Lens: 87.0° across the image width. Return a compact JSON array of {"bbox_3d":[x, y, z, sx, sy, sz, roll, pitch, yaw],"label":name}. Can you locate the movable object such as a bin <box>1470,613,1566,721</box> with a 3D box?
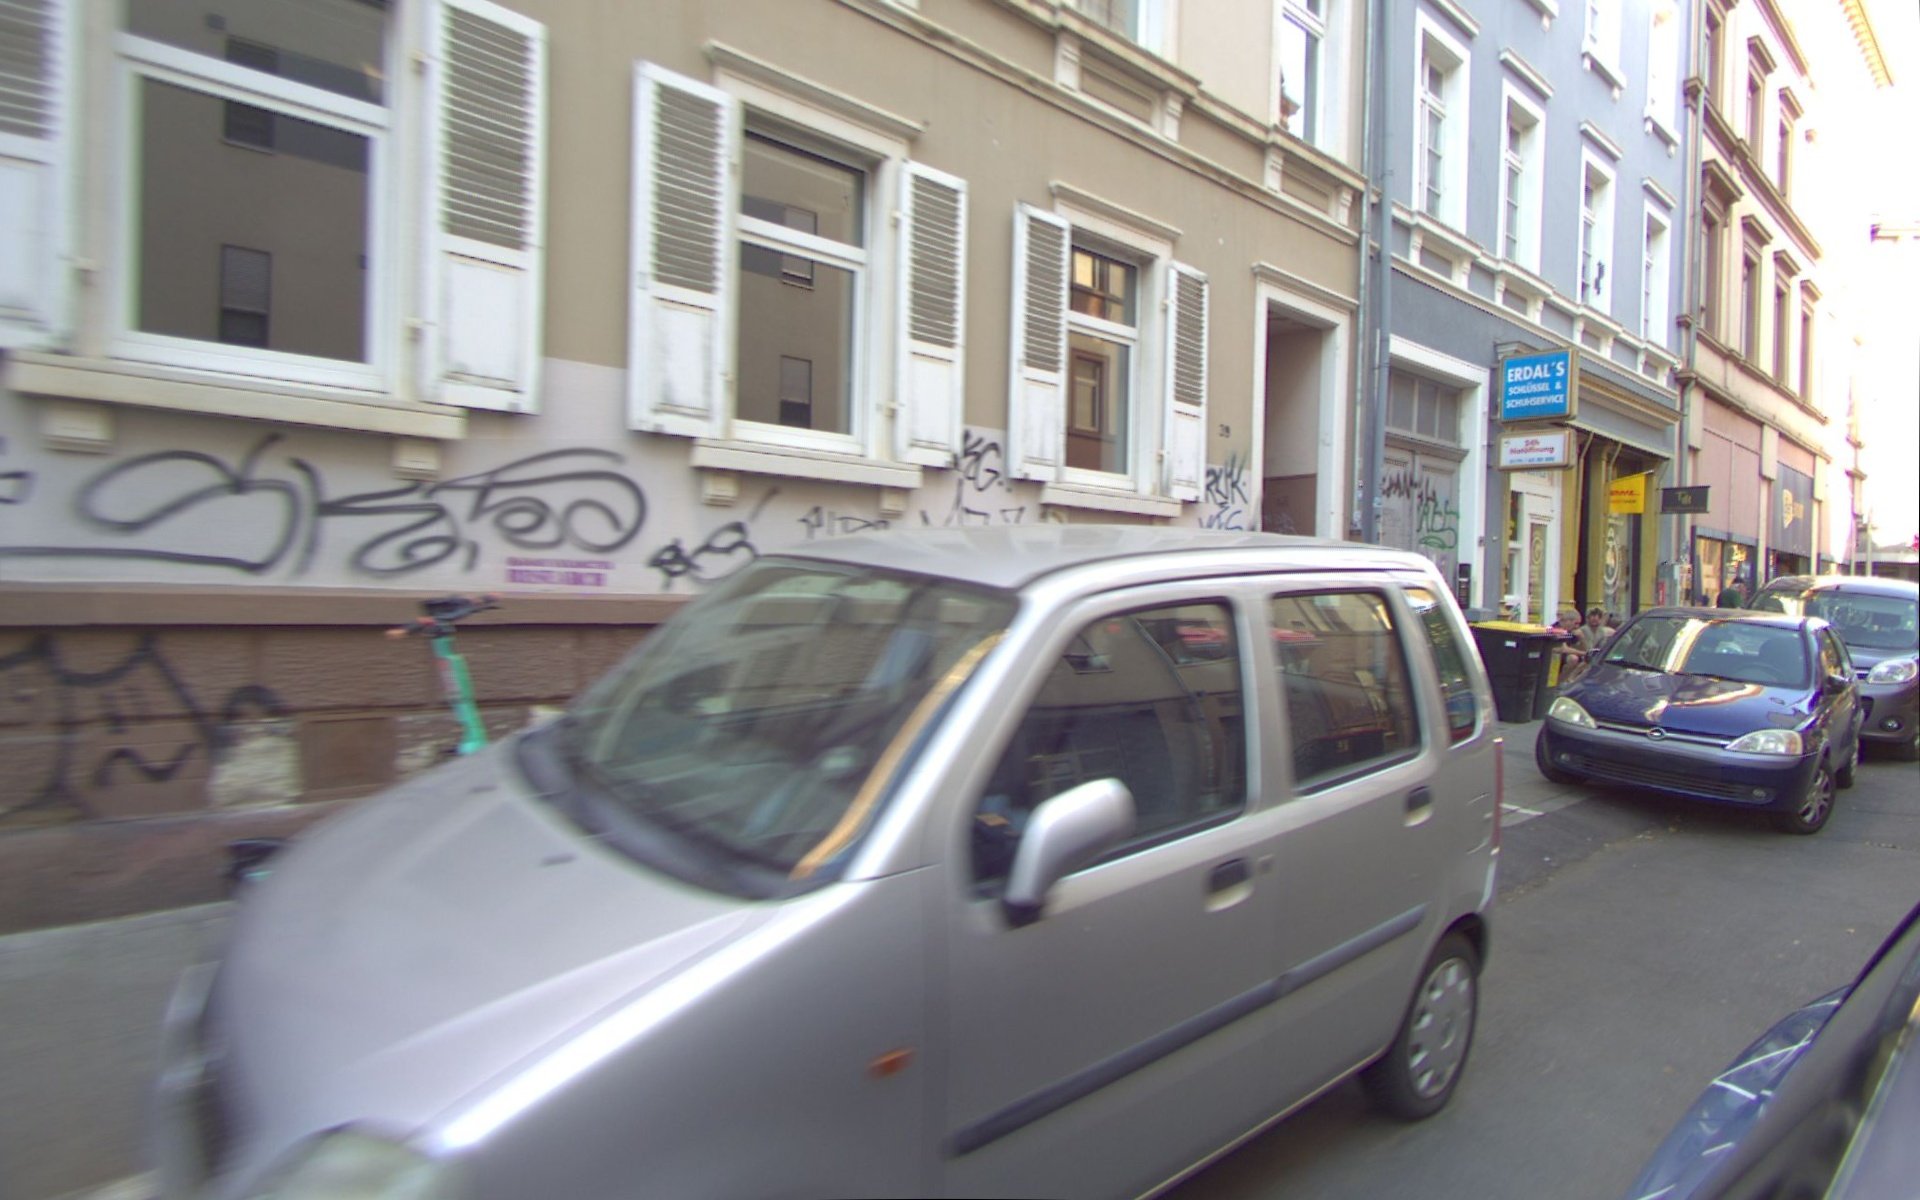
[{"bbox_3d":[6.140,0.711,11.141,0.674,1.105,0.726,0,1,-43],"label":"movable object such as a bin"}]

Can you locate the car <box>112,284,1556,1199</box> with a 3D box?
[{"bbox_3d":[0.067,0.566,2.647,3.496,1.733,1.559,0,1,-41],"label":"car"}]

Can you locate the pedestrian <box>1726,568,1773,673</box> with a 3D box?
[{"bbox_3d":[13.630,0.334,17.477,0.627,1.762,0.650,0,0,37],"label":"pedestrian"}]

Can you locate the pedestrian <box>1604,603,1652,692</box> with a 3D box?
[{"bbox_3d":[9.567,0.665,14.501,0.505,1.238,0.439,0,0,-38],"label":"pedestrian"}]

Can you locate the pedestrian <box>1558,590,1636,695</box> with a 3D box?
[{"bbox_3d":[8.180,0.523,12.992,0.642,1.293,0.677,0,0,-38],"label":"pedestrian"}]

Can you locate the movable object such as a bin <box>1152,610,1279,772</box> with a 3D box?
[{"bbox_3d":[1.913,0.649,7.596,0.549,1.101,0.696,1,3,-41],"label":"movable object such as a bin"}]

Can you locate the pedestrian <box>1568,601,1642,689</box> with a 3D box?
[{"bbox_3d":[8.695,0.586,13.653,0.642,1.139,0.677,0,0,-38],"label":"pedestrian"}]

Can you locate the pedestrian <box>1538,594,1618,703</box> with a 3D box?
[{"bbox_3d":[7.653,0.581,12.531,0.617,1.293,0.677,0,0,-38],"label":"pedestrian"}]

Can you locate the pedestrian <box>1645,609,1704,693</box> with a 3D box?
[{"bbox_3d":[10.836,0.764,15.357,0.505,1.238,0.532,0,0,0],"label":"pedestrian"}]

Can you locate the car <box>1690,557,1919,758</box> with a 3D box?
[{"bbox_3d":[9.764,0.496,11.144,4.240,1.816,1.902,0,1,-41],"label":"car"}]

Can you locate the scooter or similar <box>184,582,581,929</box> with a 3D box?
[{"bbox_3d":[-2.328,0.545,4.162,1.345,1.196,0.451,0,5,-41],"label":"scooter or similar"}]

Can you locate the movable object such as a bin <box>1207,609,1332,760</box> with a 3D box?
[{"bbox_3d":[2.482,0.647,8.137,0.621,1.101,0.696,0,3,-41],"label":"movable object such as a bin"}]

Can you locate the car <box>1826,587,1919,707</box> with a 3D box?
[{"bbox_3d":[14.383,0.655,15.083,3.254,1.575,1.575,0,5,-39],"label":"car"}]

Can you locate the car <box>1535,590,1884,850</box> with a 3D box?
[{"bbox_3d":[5.851,0.689,7.755,3.551,1.530,1.554,0,1,-43],"label":"car"}]

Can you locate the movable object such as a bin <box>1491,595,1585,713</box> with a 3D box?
[{"bbox_3d":[6.599,0.591,11.569,0.570,1.258,0.763,0,2,-42],"label":"movable object such as a bin"}]

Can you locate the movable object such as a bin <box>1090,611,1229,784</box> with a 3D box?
[{"bbox_3d":[1.410,0.654,7.190,0.549,1.101,0.754,1,3,-41],"label":"movable object such as a bin"}]

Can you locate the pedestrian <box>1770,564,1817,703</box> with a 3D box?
[{"bbox_3d":[10.909,0.423,13.261,0.425,1.762,0.556,0,0,34],"label":"pedestrian"}]

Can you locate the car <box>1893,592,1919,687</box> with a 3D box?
[{"bbox_3d":[17.814,0.666,17.864,3.491,1.592,1.609,0,1,-41],"label":"car"}]
